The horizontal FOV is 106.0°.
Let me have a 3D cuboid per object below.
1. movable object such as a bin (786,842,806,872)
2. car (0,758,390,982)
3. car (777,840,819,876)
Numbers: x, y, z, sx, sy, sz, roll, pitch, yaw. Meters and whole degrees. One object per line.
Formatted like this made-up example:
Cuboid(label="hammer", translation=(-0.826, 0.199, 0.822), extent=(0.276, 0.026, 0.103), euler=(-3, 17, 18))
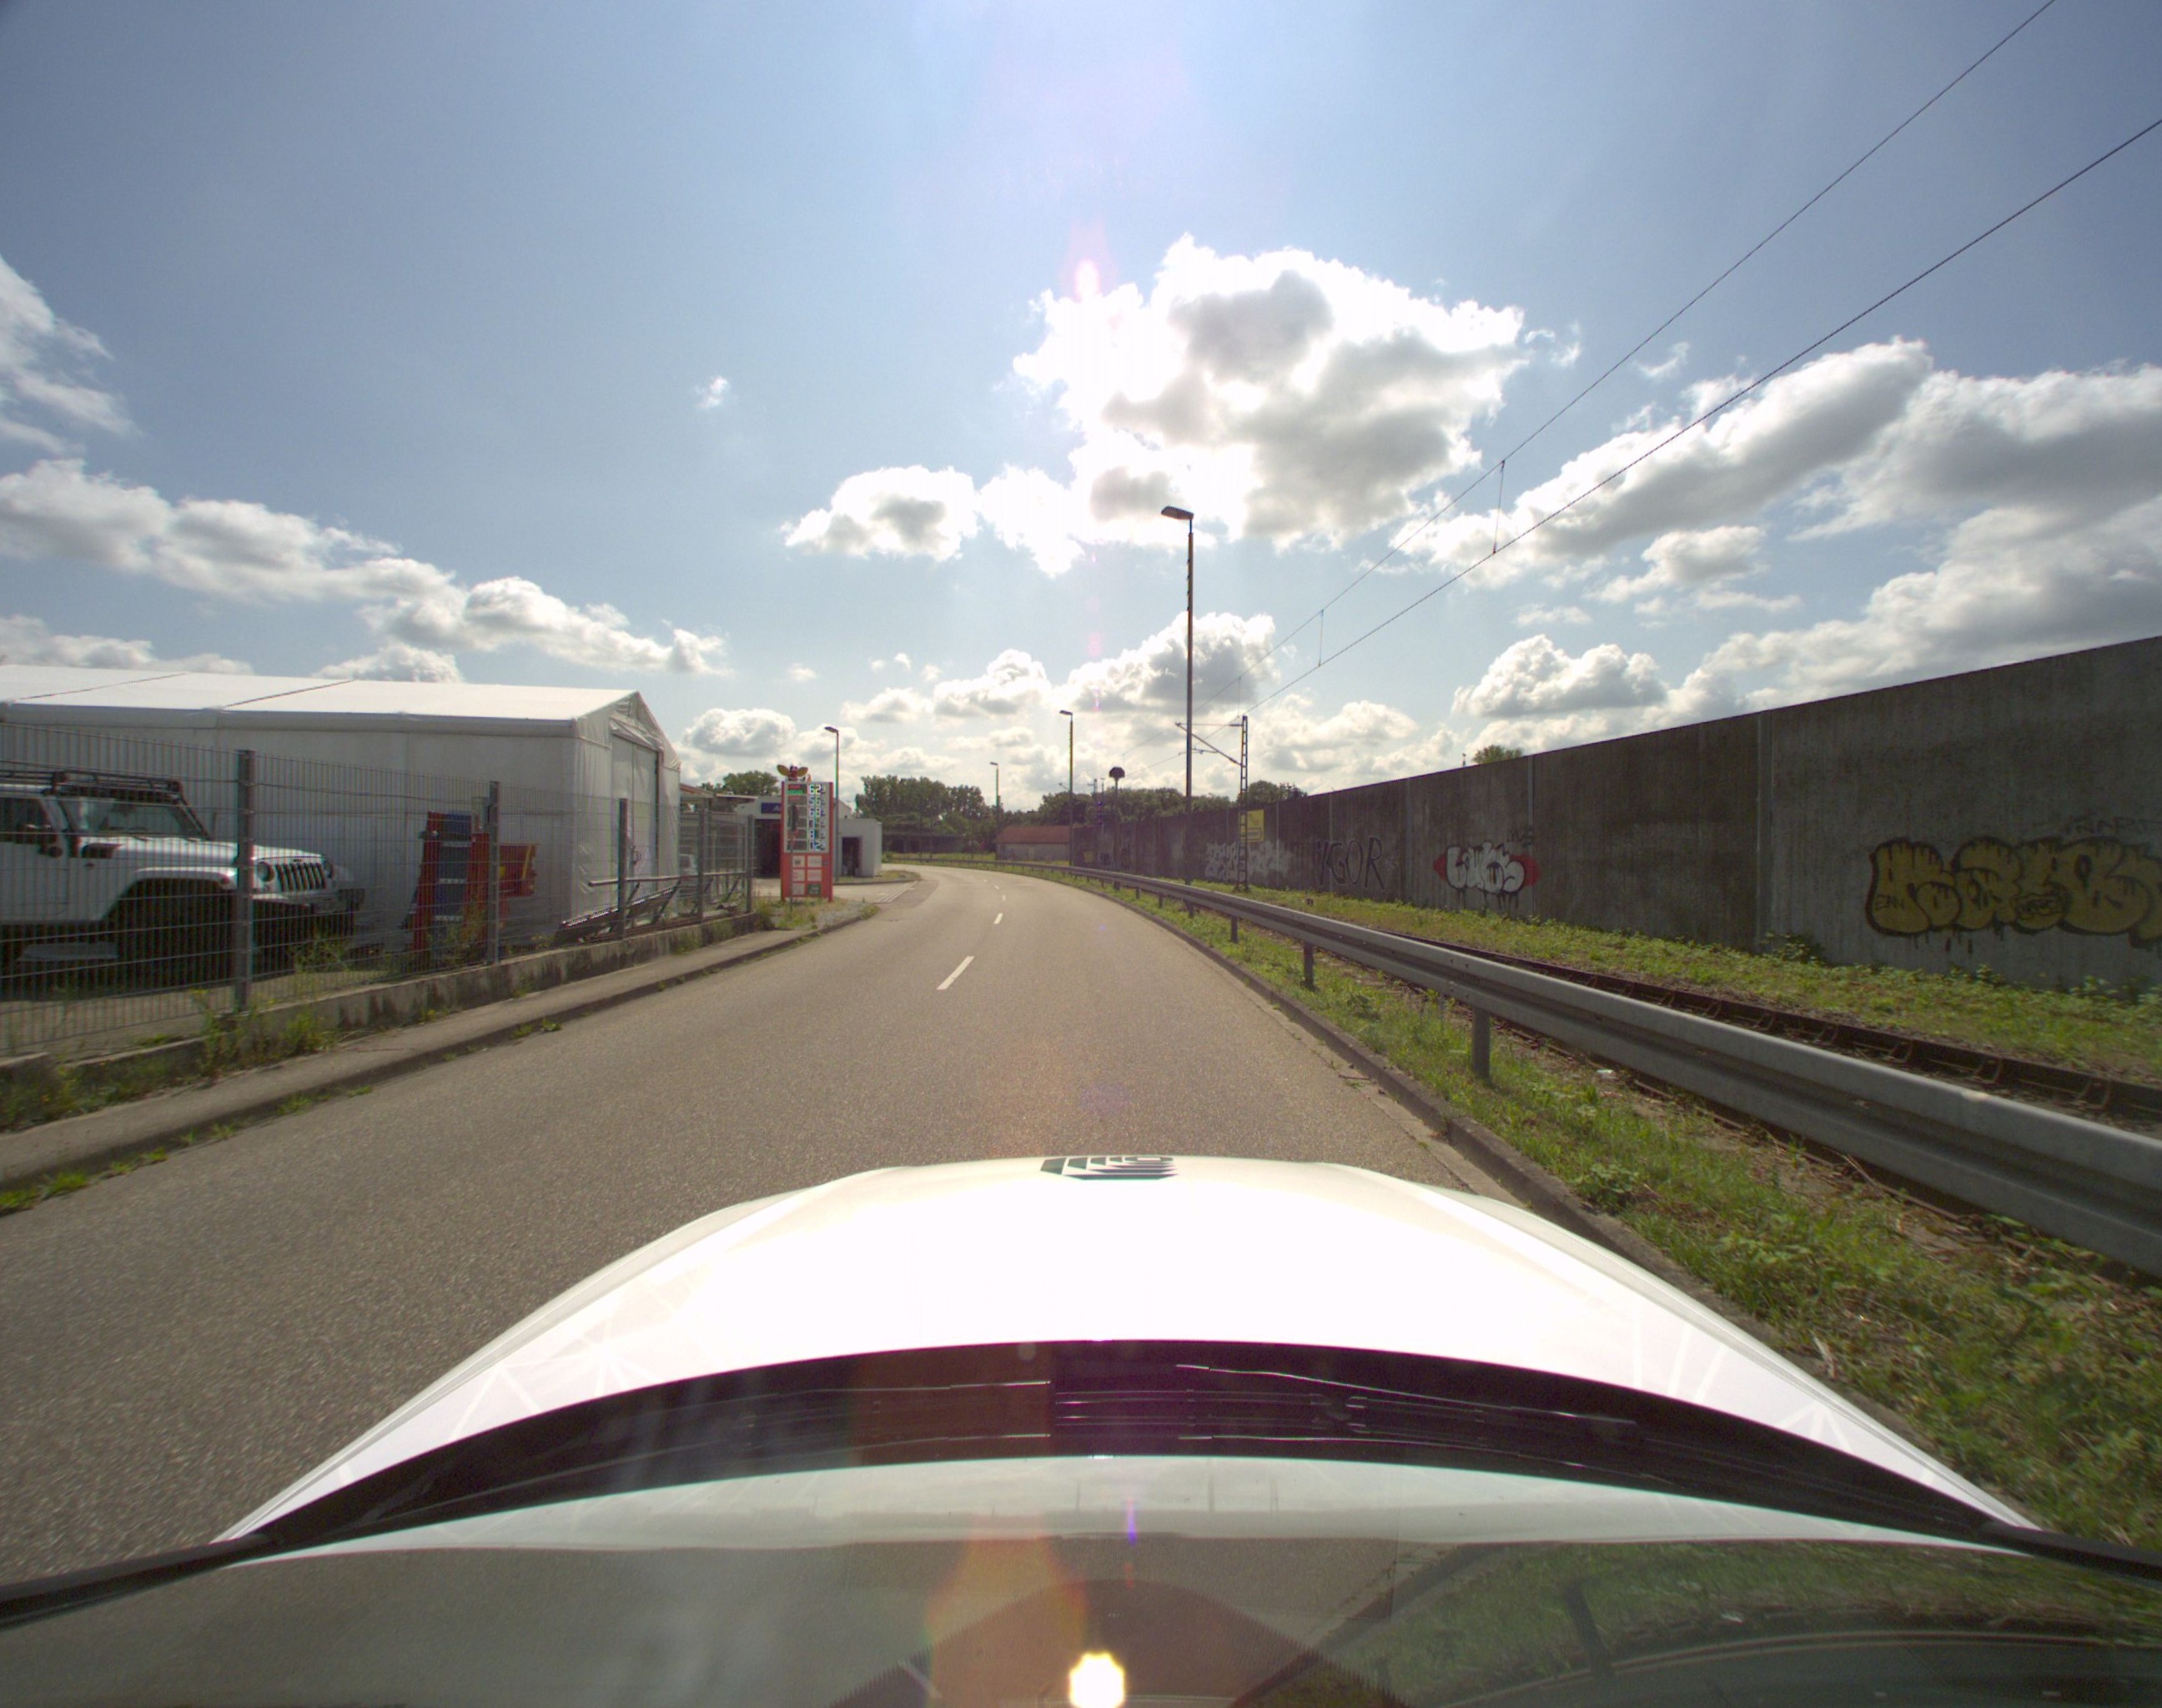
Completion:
Cuboid(label="movable object such as a bin", translation=(-21.054, 0.231, 60.233), extent=(1.063, 2.153, 2.692), euler=(1, -2, -12))
Cuboid(label="car", translation=(-10.339, 0.150, 8.289), extent=(4.564, 2.027, 2.048), euler=(0, -1, -16))
Cuboid(label="car", translation=(-17.497, 0.252, 50.566), extent=(1.996, 2.109, 4.987), euler=(0, 0, -13))
